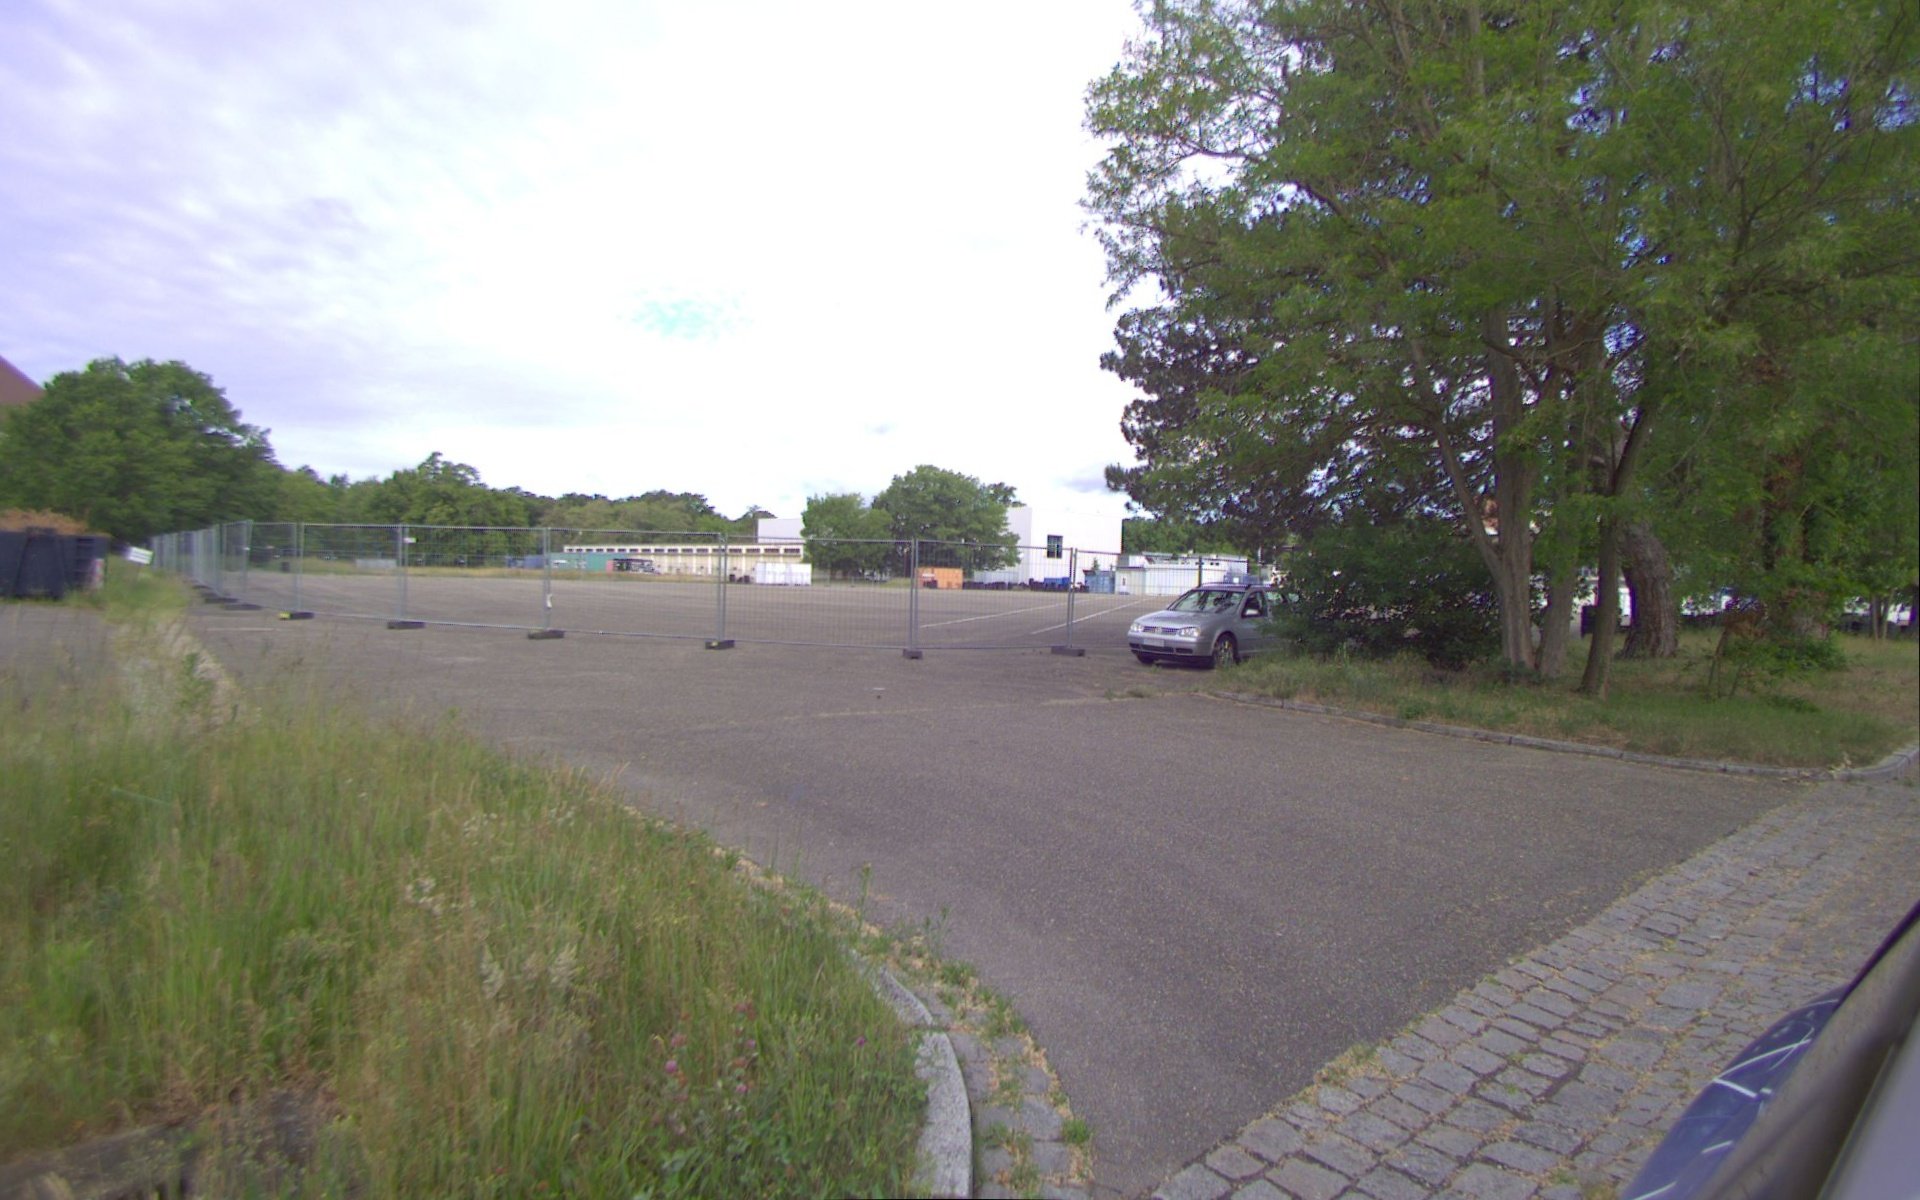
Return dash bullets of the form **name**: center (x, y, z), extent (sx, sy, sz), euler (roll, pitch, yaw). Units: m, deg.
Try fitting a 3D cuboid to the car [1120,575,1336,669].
- **car**: center (4.926, 0.339, 18.231), extent (4.414, 1.469, 1.676), euler (0, 1, -43)
